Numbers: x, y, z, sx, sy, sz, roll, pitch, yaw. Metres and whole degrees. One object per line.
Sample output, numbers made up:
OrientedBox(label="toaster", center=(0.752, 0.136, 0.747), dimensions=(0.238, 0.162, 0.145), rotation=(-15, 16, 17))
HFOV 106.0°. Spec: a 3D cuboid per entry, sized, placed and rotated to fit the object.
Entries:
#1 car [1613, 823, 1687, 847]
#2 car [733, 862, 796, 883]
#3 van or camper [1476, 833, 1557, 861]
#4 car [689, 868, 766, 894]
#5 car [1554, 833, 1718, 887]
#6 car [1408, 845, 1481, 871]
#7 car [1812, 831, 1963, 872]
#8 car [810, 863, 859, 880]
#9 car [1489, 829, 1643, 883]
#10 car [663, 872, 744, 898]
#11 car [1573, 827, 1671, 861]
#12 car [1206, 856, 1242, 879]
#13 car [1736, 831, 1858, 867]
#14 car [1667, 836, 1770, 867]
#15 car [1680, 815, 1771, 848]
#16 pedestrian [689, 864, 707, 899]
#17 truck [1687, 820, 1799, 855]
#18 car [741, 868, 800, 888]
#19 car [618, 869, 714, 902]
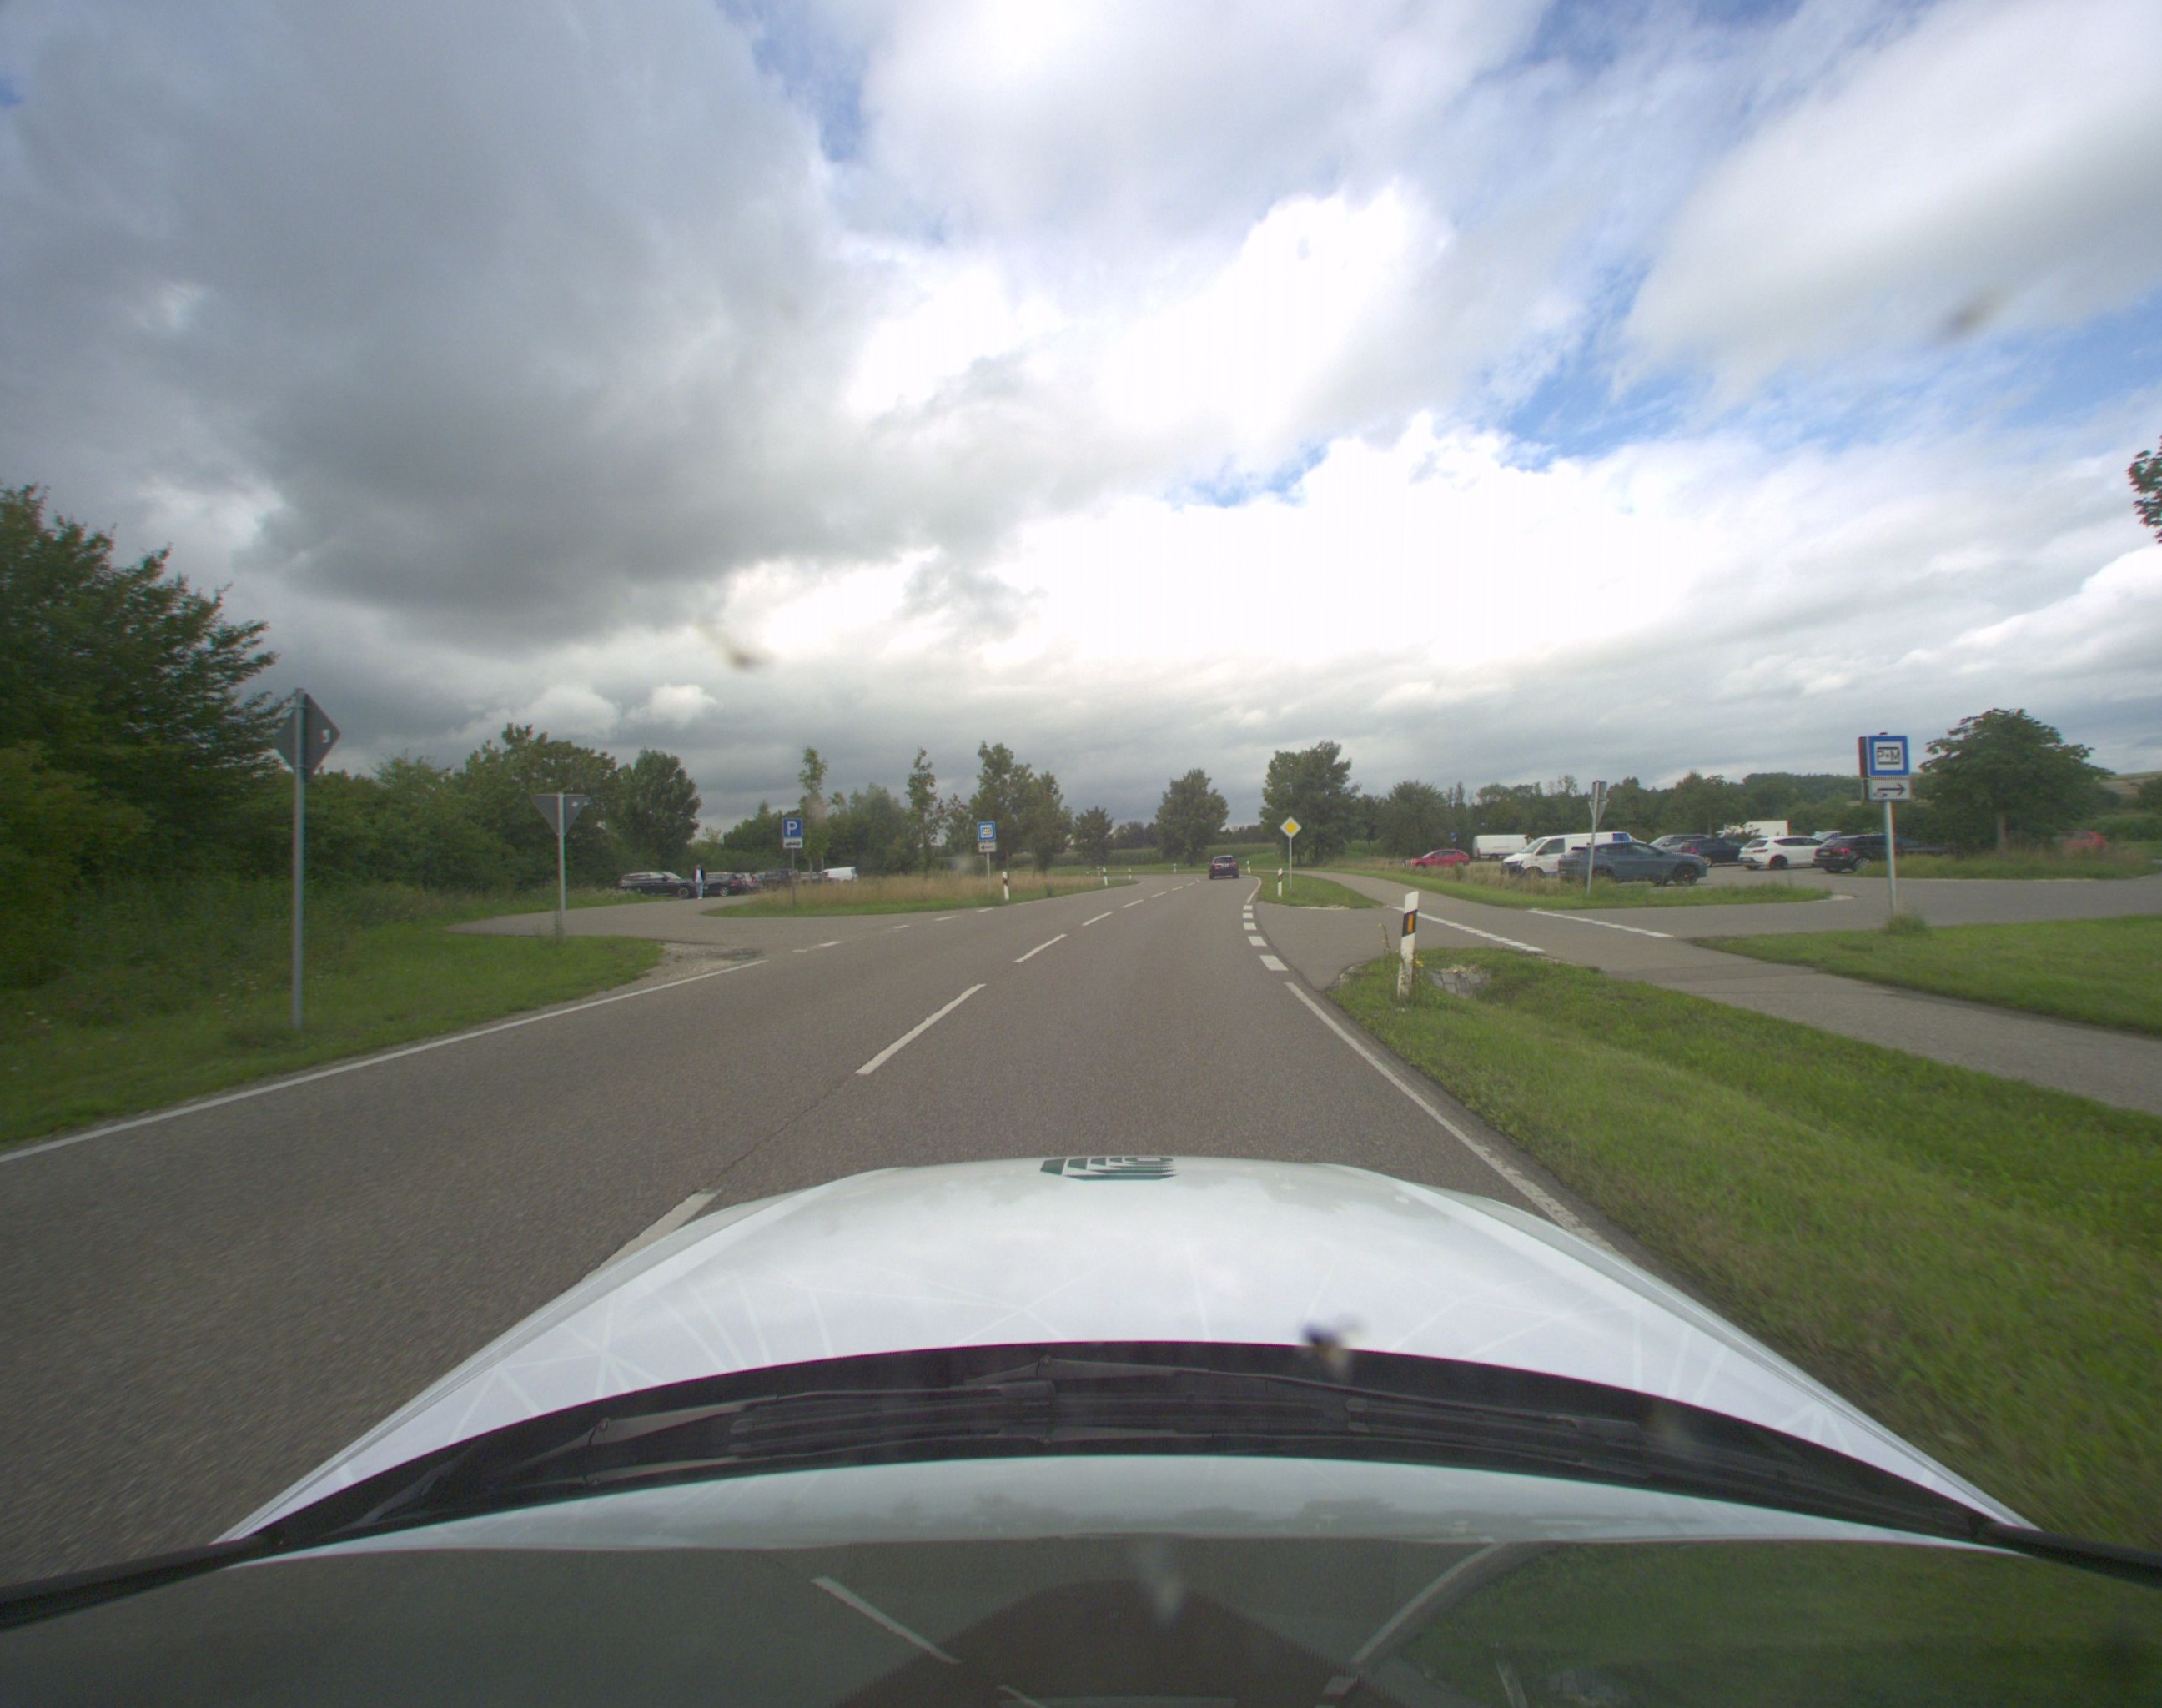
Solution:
OrientedBox(label="car", center=(41.539, -1.343, 59.500), dimensions=(3.970, 1.596, 2.002), rotation=(-2, 0, 3))
OrientedBox(label="car", center=(-22.952, 1.361, 59.138), dimensions=(3.991, 1.380, 1.469), rotation=(-2, 0, -13))
OrientedBox(label="van or camper", center=(43.023, -0.655, 80.649), dimensions=(6.695, 2.562, 2.056), rotation=(-2, 0, 13))
OrientedBox(label="car", center=(-23.208, 1.745, 53.492), dimensions=(4.227, 1.566, 1.758), rotation=(-2, 0, 0))
OrientedBox(label="car", center=(18.943, 0.210, 27.987), dimensions=(4.245, 1.566, 1.843), rotation=(-3, -1, 10))
OrientedBox(label="car", center=(25.605, 0.249, 57.549), dimensions=(4.303, 1.575, 1.976), rotation=(-3, -1, 9))
OrientedBox(label="car", center=(30.170, -0.072, 30.566), dimensions=(3.664, 1.391, 1.735), rotation=(-2, 0, 10))
OrientedBox(label="car", center=(-22.299, 1.592, 73.833), dimensions=(3.983, 1.380, 1.472), rotation=(-2, 0, -7))
OrientedBox(label="car", center=(19.497, 0.094, 32.954), dimensions=(4.915, 1.974, 1.960), rotation=(-2, 0, 10))
OrientedBox(label="car", center=(-22.806, 1.838, 49.269), dimensions=(3.975, 1.380, 1.823), rotation=(-2, 0, -1))
OrientedBox(label="car", center=(36.497, -0.670, 55.063), dimensions=(4.996, 2.000, 2.237), rotation=(-3, -1, 9))
OrientedBox(label="car", center=(9.127, 0.848, 52.366), dimensions=(1.833, 1.417, 4.004), rotation=(-2, 0, 4))
OrientedBox(label="car", center=(31.110, -0.211, 35.472), dimensions=(3.670, 1.391, 1.762), rotation=(-2, 0, 5))
OrientedBox(label="car", center=(31.611, -0.125, 40.471), dimensions=(3.670, 1.391, 1.762), rotation=(-2, 0, 5))
OrientedBox(label="car", center=(35.277, -1.216, 44.685), dimensions=(3.652, 1.607, 1.770), rotation=(-2, 0, 30))
OrientedBox(label="pedestrian", center=(-18.685, 1.340, 39.716), dimensions=(0.513, 1.667, 0.661), rotation=(-2, -1, 2))
OrientedBox(label="truck", center=(56.114, -1.338, 69.200), dimensions=(6.834, 2.715, 2.841), rotation=(-2, 0, 12))
OrientedBox(label="car", center=(-23.724, 1.790, 62.276), dimensions=(3.989, 1.380, 1.470), rotation=(-2, 0, -12))
OrientedBox(label="car", center=(-22.380, 1.677, 44.041), dimensions=(4.232, 1.566, 1.755), rotation=(-2, 0, -4))
